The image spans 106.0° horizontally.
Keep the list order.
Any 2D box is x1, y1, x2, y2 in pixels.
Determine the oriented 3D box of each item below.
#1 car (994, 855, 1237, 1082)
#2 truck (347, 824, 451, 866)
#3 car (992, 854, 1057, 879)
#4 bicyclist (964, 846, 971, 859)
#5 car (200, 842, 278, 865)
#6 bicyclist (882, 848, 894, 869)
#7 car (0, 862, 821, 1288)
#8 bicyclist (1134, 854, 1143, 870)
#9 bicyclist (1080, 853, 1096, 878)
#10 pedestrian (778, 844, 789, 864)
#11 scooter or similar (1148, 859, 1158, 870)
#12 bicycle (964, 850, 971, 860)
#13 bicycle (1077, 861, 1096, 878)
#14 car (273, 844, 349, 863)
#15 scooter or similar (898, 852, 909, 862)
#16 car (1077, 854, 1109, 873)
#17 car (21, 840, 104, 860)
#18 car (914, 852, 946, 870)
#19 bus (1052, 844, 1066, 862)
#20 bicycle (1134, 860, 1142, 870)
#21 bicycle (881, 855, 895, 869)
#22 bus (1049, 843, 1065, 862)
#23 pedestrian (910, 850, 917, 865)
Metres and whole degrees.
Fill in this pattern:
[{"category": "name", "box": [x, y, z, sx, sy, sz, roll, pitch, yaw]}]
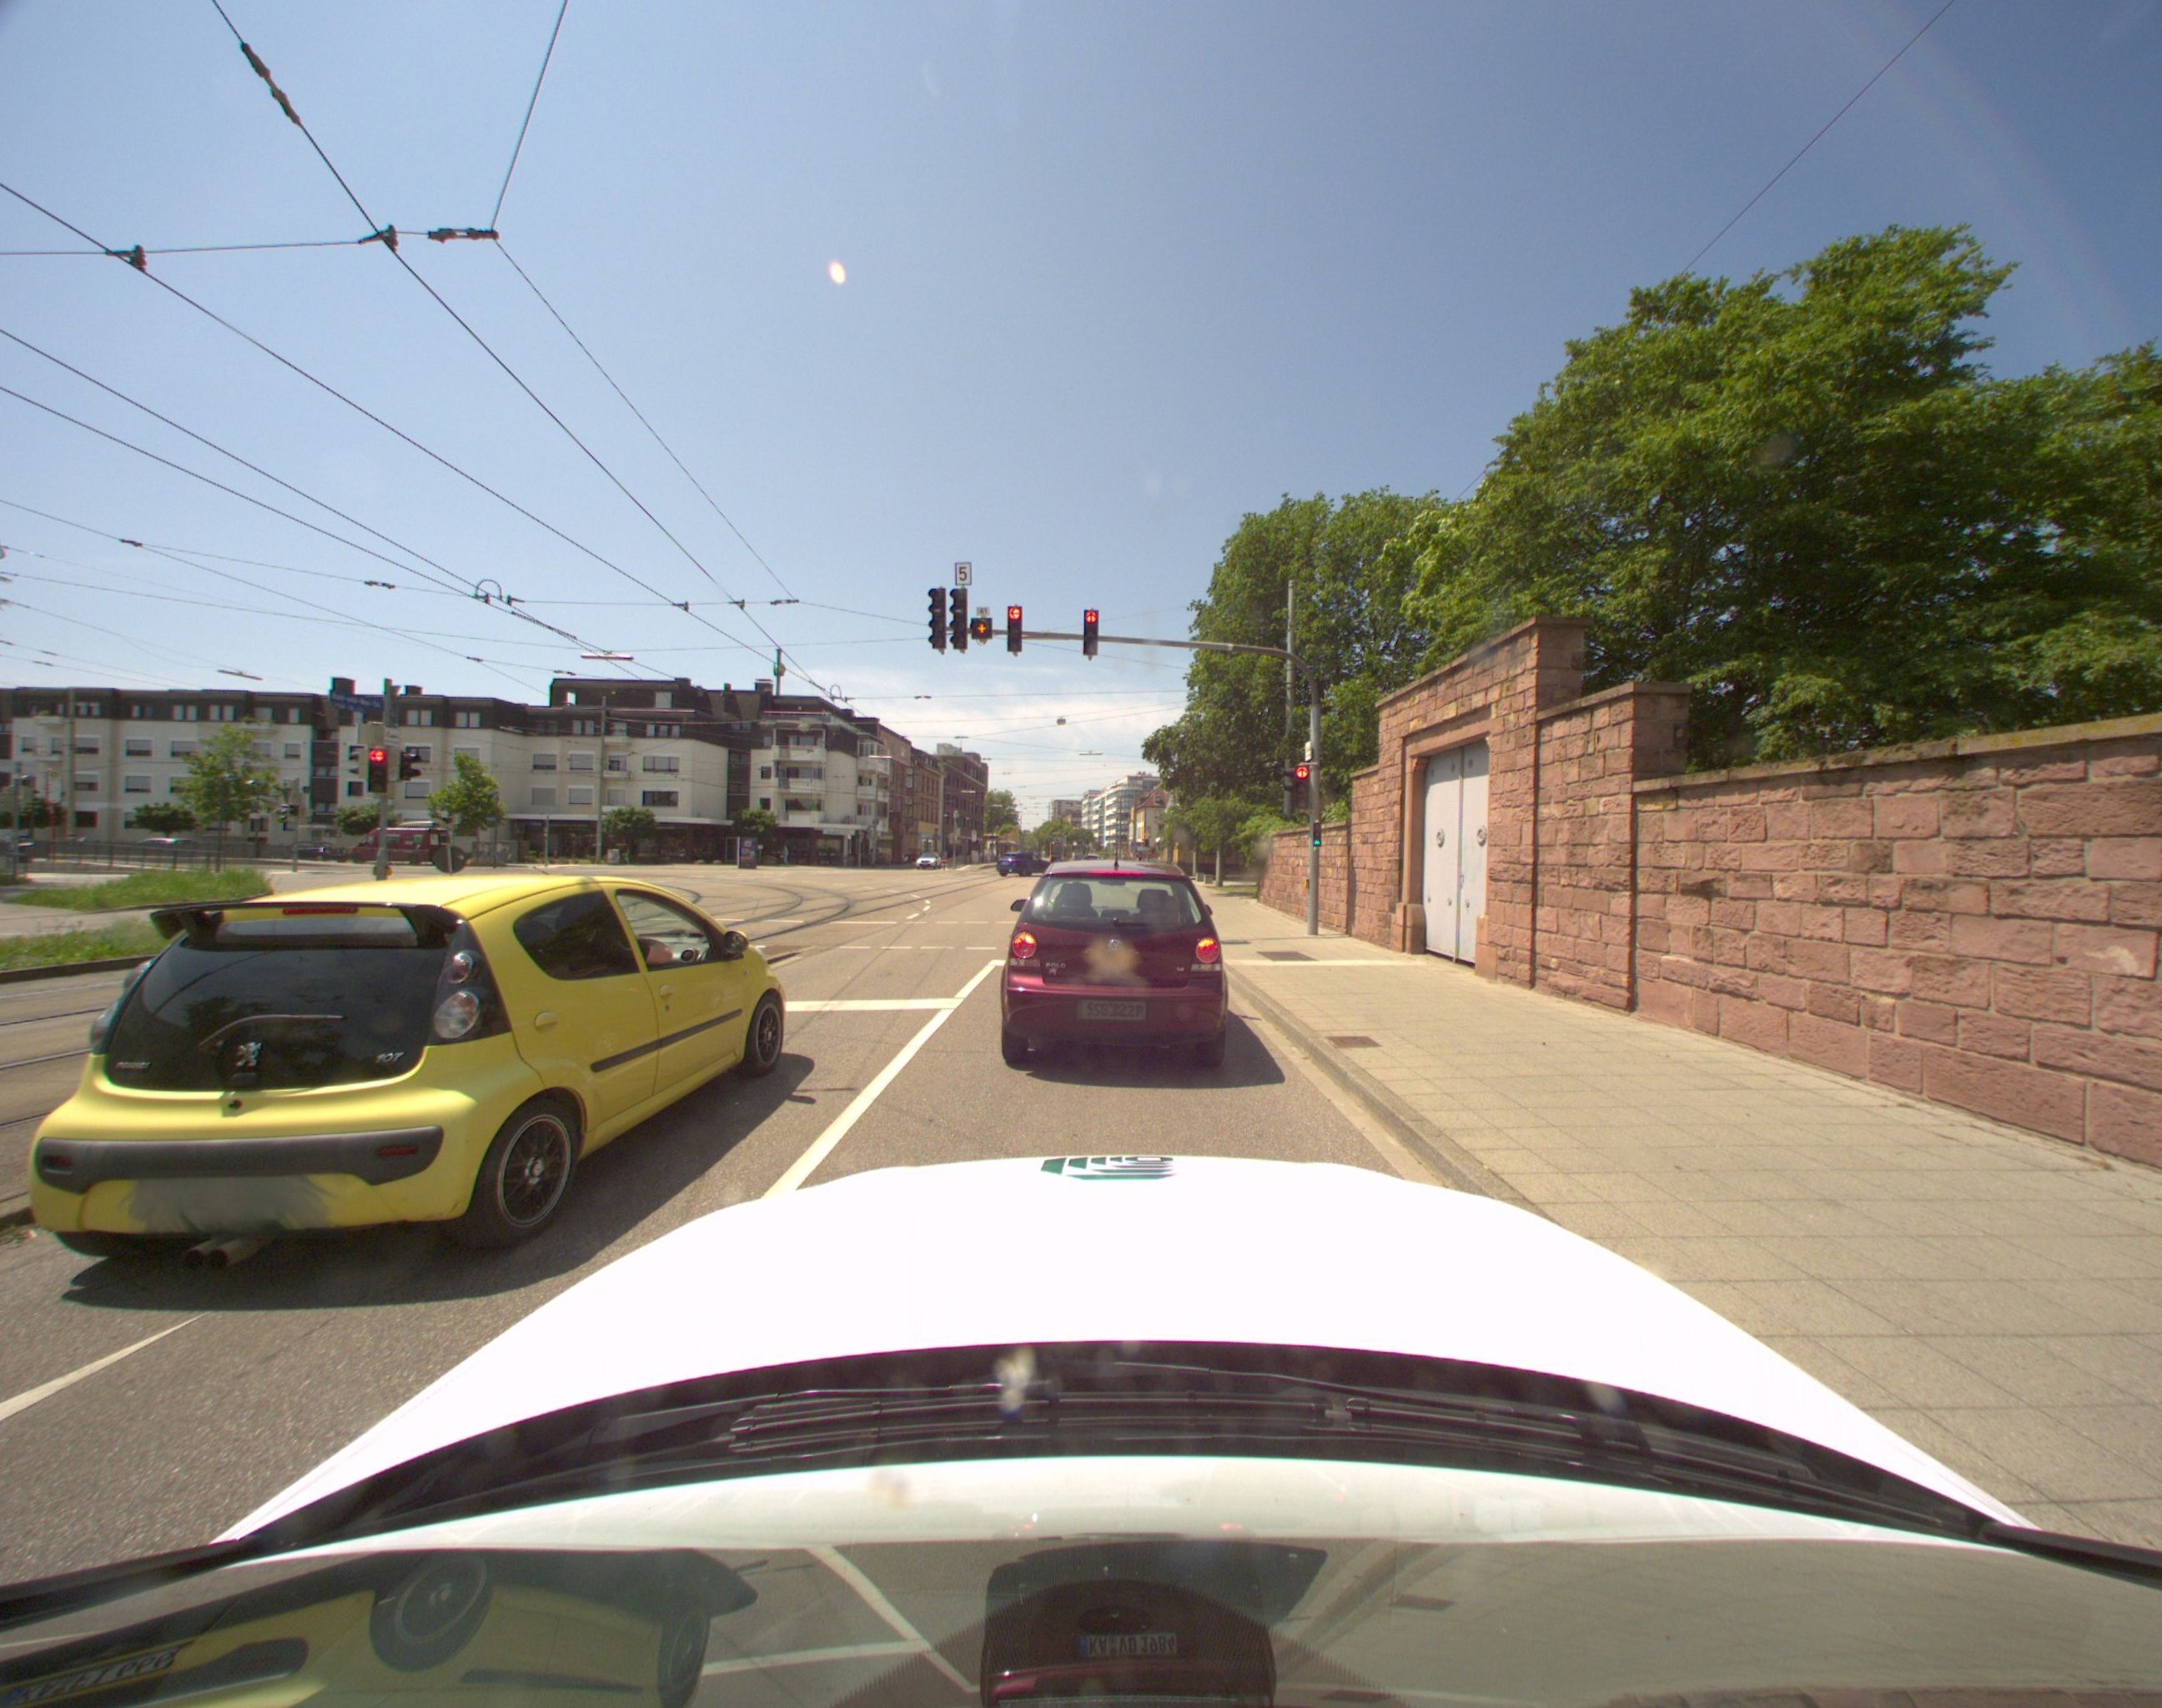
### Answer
[{"category": "car", "box": [0.249, 0.748, 6.827, 1.556, 1.453, 3.062, 1, 0, 1]}, {"category": "truck", "box": [-45.380, -0.594, 54.265, 5.007, 2.698, 2.188, 1, 0, 1]}, {"category": "car", "box": [-3.820, 0.832, 55.817, 1.974, 1.624, 4.661, 1, 0, 35]}, {"category": "bicyclist", "box": [-15.689, -0.186, 112.693, 0.730, 1.762, 1.135, 1, 0, 1]}, {"category": "car", "box": [-56.085, -0.021, 54.256, 3.556, 1.433, 1.591, 1, 0, 2]}, {"category": "bicyclist", "box": [-17.279, 0.399, 72.902, 0.692, 1.765, 1.137, 1, 1, 1]}, {"category": "car", "box": [-2.911, 0.780, 4.647, 1.610, 1.421, 3.656, -1, -1, 1]}, {"category": "bicyclist", "box": [5.967, 0.826, 84.806, 0.829, 1.618, 0.860, -3, 1, 1]}, {"category": "bicyclist", "box": [0.507, 0.799, 57.235, 0.720, 1.760, 0.929, 1, 0, 29]}, {"category": "pedestrian", "box": [-25.415, 0.029, 69.499, 0.807, 1.696, 0.697, 1, 0, -17]}, {"category": "scooter or similar", "box": [7.428, 1.075, 84.105, 0.340, 1.178, 1.457, 1, 0, -22]}, {"category": "bicycle", "box": [-15.712, 0.092, 112.625, 0.674, 1.304, 2.105, 1, 1, 1]}, {"category": "bicycle", "box": [0.383, 1.086, 57.030, 0.372, 1.197, 1.917, 1, 0, 30]}, {"category": "car", "box": [-51.406, -0.011, 54.396, 3.556, 1.219, 1.591, 1, 0, 2]}, {"category": "scooter or similar", "box": [-20.192, 0.340, 92.457, 0.484, 1.082, 1.584, 1, 0, 18]}, {"category": "car", "box": [1.030, 0.824, 69.886, 1.810, 1.530, 4.015, 1, 0, 14]}, {"category": "car", "box": [-67.808, -0.274, 54.244, 3.556, 1.240, 1.591, 1, 0, 2]}, {"category": "car", "box": [-13.786, 0.639, 74.689, 1.986, 1.553, 4.141, 1, 0, 2]}, {"category": "bus", "box": [-3.730, -0.173, 135.318, 2.227, 3.003, 6.589, 1, 0, -2]}, {"category": "bicycle", "box": [5.957, 1.130, 84.783, 0.666, 1.002, 1.864, -3, 1, 1]}, {"category": "bicycle", "box": [-17.278, 0.715, 72.949, 0.692, 1.149, 1.932, 1, 1, 1]}, {"category": "bus", "box": [-3.749, -0.220, 128.753, 2.137, 3.003, 6.575, 1, 0, 1]}, {"category": "pedestrian", "box": [-18.415, 0.394, 89.347, 0.612, 1.560, 0.640, 1, 0, 1]}]
